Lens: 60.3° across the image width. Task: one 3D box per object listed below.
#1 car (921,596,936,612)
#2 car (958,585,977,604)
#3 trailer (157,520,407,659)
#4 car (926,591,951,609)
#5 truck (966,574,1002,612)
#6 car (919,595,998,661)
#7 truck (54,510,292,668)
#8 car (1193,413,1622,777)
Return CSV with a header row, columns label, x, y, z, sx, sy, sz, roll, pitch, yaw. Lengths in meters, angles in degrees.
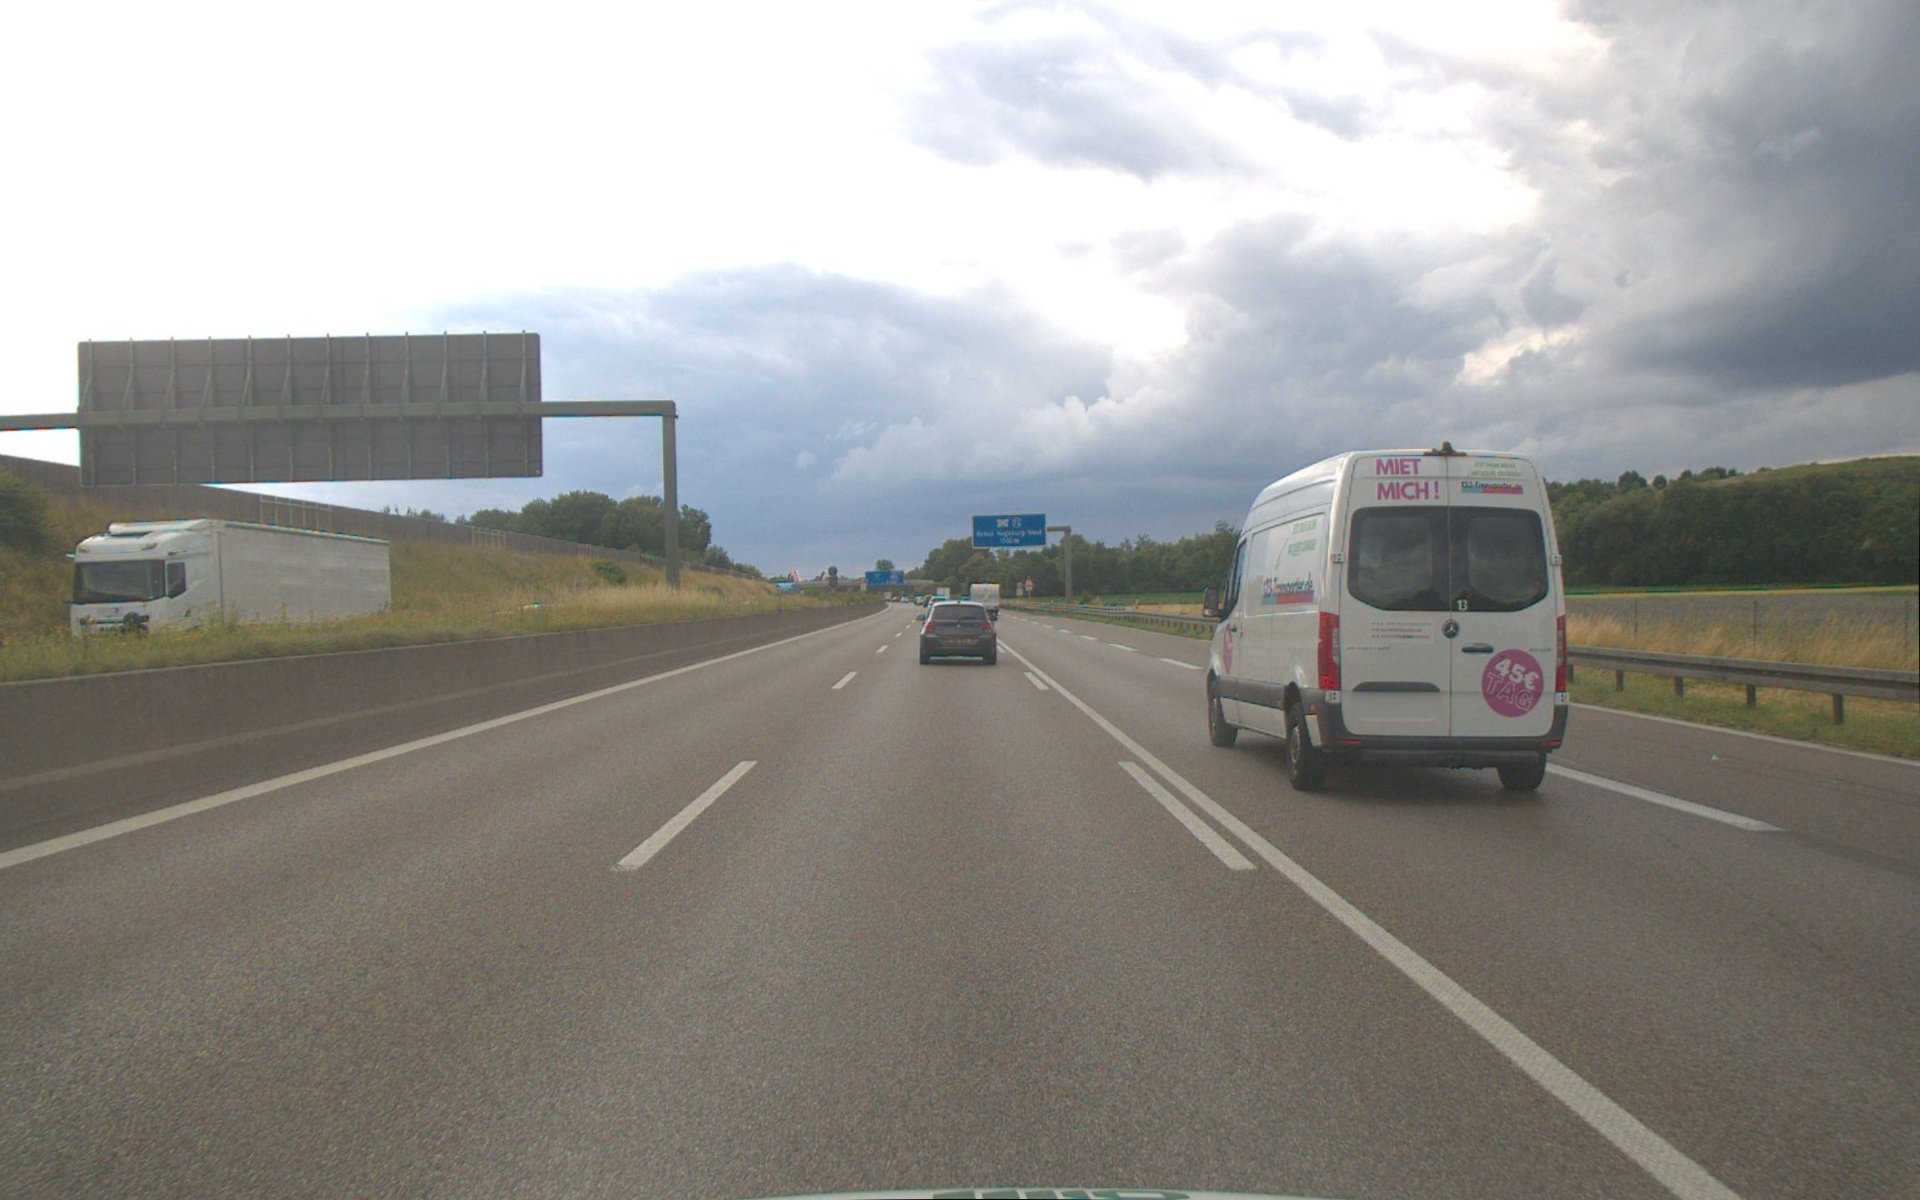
label,x,y,z,sx,sy,sz,roll,pitch,yaw
car,-4.256,0.523,223.997,1.953,2.049,3.999,-1,0,-1
car,0.843,-0.611,188.186,1.953,2.049,3.999,-1,0,-1
trailer,-20.597,-0.326,51.376,2.720,3.741,12.262,-2,0,0
car,-1.704,-0.017,130.684,1.953,1.321,3.999,-1,0,-1
truck,1.941,-0.561,139.631,2.655,3.016,12.445,1,0,-1
car,-0.052,0.600,38.084,1.708,1.413,4.000,0,1,-1
truck,-20.527,-0.281,43.724,2.671,3.741,7.488,-2,0,-1
car,3.672,-0.062,15.063,2.176,2.612,6.255,0,0,0
